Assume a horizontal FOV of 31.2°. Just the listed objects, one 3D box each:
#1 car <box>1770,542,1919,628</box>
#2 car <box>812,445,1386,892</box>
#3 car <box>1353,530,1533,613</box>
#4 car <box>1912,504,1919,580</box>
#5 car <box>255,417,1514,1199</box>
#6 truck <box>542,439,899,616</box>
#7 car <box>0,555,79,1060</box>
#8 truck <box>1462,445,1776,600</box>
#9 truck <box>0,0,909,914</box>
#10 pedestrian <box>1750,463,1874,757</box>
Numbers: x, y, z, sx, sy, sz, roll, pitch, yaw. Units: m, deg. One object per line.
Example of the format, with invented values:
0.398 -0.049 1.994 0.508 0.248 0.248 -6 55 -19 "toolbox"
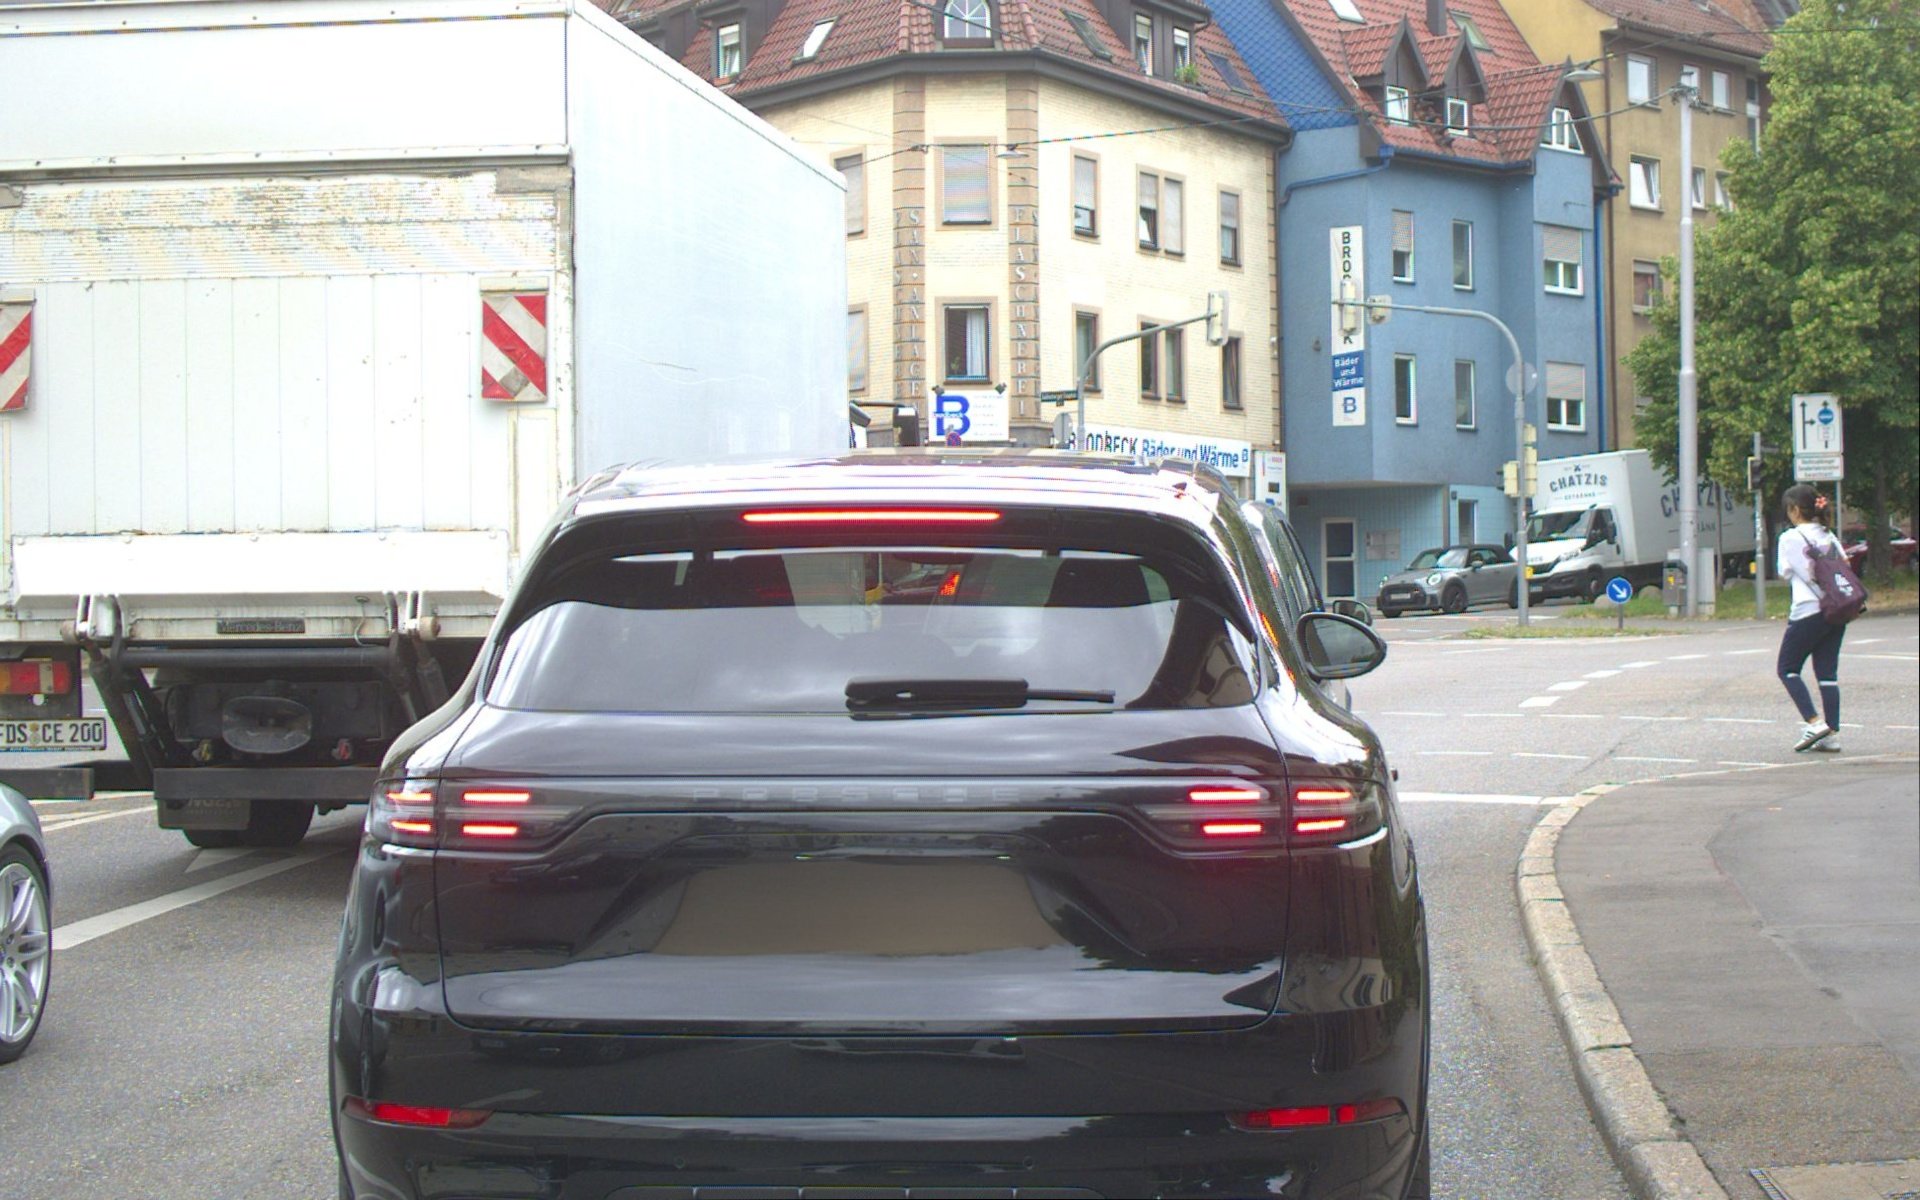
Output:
22.244 -0.366 86.214 1.999 2.007 3.990 2 1 43 "car"
0.759 0.232 15.074 1.994 1.678 3.998 0 1 10 "car"
10.118 -0.601 71.894 1.998 1.678 3.991 0 1 38 "car"
27.160 -1.471 91.235 1.999 2.007 3.990 2 1 43 "car"
-0.225 0.497 7.416 1.978 1.678 4.001 0 2 -3 "car"
-4.147 -1.203 58.175 2.500 2.794 6.717 1 0 -40 "truck"
-3.557 0.613 8.062 1.696 1.368 4.177 0 2 3 "car"
15.144 -1.714 78.437 2.880 3.328 8.772 2 1 41 "truck"
-2.247 -0.705 17.161 2.770 3.562 8.062 0 1 8 "truck"
5.361 0.059 21.647 0.589 1.813 0.529 2 0 0 "pedestrian"
